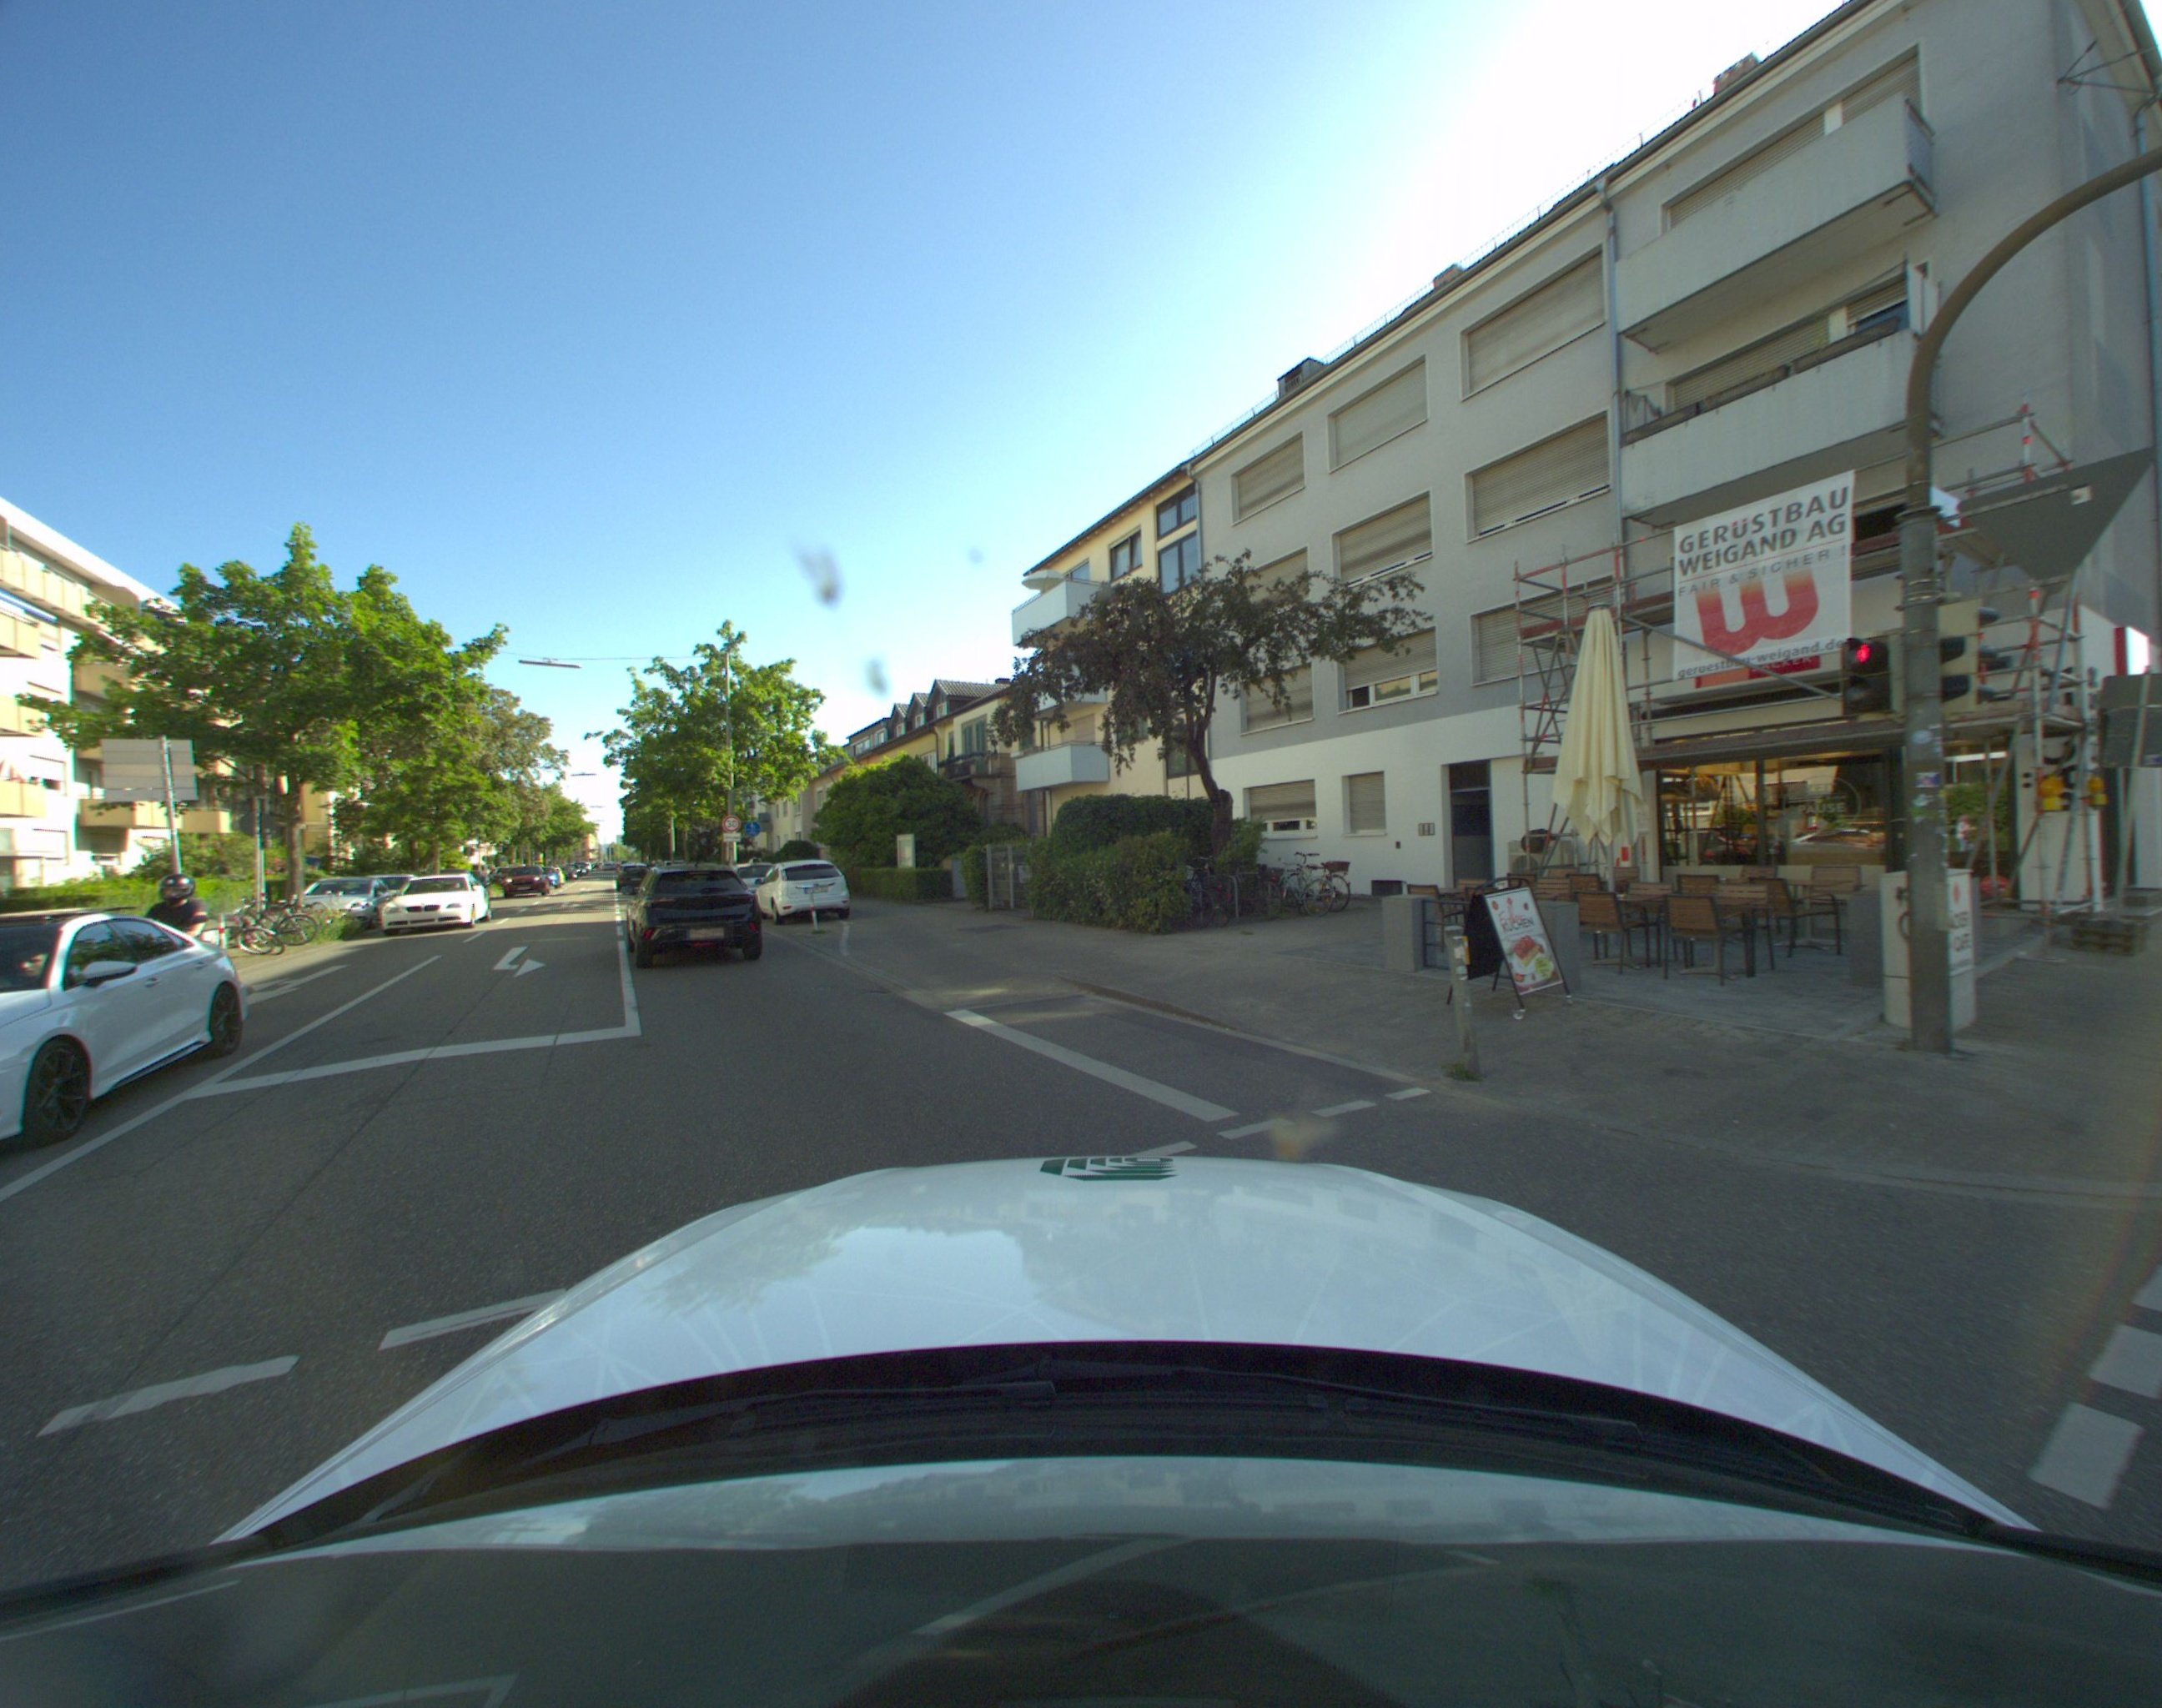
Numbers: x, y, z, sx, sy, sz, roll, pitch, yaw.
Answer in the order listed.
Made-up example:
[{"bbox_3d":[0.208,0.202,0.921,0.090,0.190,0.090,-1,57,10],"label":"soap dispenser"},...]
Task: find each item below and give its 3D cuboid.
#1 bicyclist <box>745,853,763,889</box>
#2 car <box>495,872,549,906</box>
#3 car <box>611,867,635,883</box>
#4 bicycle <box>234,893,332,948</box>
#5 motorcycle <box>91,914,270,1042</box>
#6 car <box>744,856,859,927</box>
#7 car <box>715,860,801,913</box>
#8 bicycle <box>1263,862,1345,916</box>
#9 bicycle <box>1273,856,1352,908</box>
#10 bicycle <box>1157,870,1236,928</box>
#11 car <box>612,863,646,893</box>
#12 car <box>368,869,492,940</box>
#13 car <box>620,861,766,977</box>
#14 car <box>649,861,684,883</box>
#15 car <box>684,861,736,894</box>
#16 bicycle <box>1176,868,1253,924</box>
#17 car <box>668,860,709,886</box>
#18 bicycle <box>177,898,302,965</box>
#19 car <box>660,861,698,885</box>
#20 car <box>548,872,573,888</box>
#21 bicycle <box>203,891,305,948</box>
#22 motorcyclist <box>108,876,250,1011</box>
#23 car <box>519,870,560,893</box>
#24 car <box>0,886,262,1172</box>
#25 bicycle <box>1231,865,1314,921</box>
[{"bbox_3d":[-14.426,0.736,35.918,0.557,1.549,0.806,-2,1,-32],"label":"bicyclist"},{"bbox_3d":[-29.689,1.807,43.376,1.820,1.558,4.209,-5,2,-29],"label":"car"},{"bbox_3d":[-45.154,2.090,80.175,1.850,1.433,4.134,-2,0,-32],"label":"car"},{"bbox_3d":[-18.327,1.525,18.721,1.573,1.162,0.446,-2,-8,-8],"label":"bicycle"},{"bbox_3d":[-10.053,1.325,9.180,0.751,1.134,1.668,-4,1,-27],"label":"motorcycle"},{"bbox_3d":[-7.211,0.885,20.770,1.922,1.519,3.960,-4,1,-31],"label":"car"},{"bbox_3d":[-10.613,1.008,26.614,1.922,1.429,3.960,-5,2,-31],"label":"car"},{"bbox_3d":[4.141,0.637,15.246,0.514,0.940,1.579,-2,0,-28],"label":"bicycle"},{"bbox_3d":[4.519,0.530,15.989,0.514,0.940,1.579,-2,0,-28],"label":"bicycle"},{"bbox_3d":[1.997,0.764,14.334,0.514,0.940,1.579,-2,0,-28],"label":"bicycle"},{"bbox_3d":[-25.666,1.348,46.341,1.601,1.566,4.051,-2,-1,-28],"label":"car"},{"bbox_3d":[-17.584,1.282,22.213,1.820,1.558,4.209,-5,2,-29],"label":"car"},{"bbox_3d":[-6.582,0.935,13.583,1.774,1.558,3.960,-2,0,-31],"label":"car"},{"bbox_3d":[-31.006,1.329,60.879,1.922,1.429,3.960,-5,2,-31],"label":"car"},{"bbox_3d":[-18.850,1.146,41.289,1.922,1.429,3.960,-5,2,-31],"label":"car"},{"bbox_3d":[2.403,0.735,14.836,0.514,0.940,1.579,-2,0,-28],"label":"bicycle"},{"bbox_3d":[-24.840,1.169,51.509,1.922,1.429,3.960,-5,2,-31],"label":"car"},{"bbox_3d":[-16.669,1.528,16.171,1.573,1.159,0.447,-2,15,-8],"label":"bicycle"},{"bbox_3d":[-27.590,1.316,55.845,1.922,1.429,3.960,-5,2,-31],"label":"car"},{"bbox_3d":[-52.659,2.615,82.459,1.820,1.388,4.209,-5,2,-29],"label":"car"},{"bbox_3d":[-18.490,1.458,18.233,1.573,1.162,0.446,-2,-8,-8],"label":"bicycle"},{"bbox_3d":[-10.062,0.962,9.129,0.759,1.356,0.785,-4,1,-28],"label":"motorcyclist"},{"bbox_3d":[-36.277,1.802,54.655,1.820,1.282,4.209,-5,2,-29],"label":"car"},{"bbox_3d":[-7.708,1.100,5.526,1.941,1.435,4.225,-6,3,-31],"label":"car"},{"bbox_3d":[3.434,0.683,14.739,0.514,0.940,1.579,-2,0,-28],"label":"bicycle"}]
